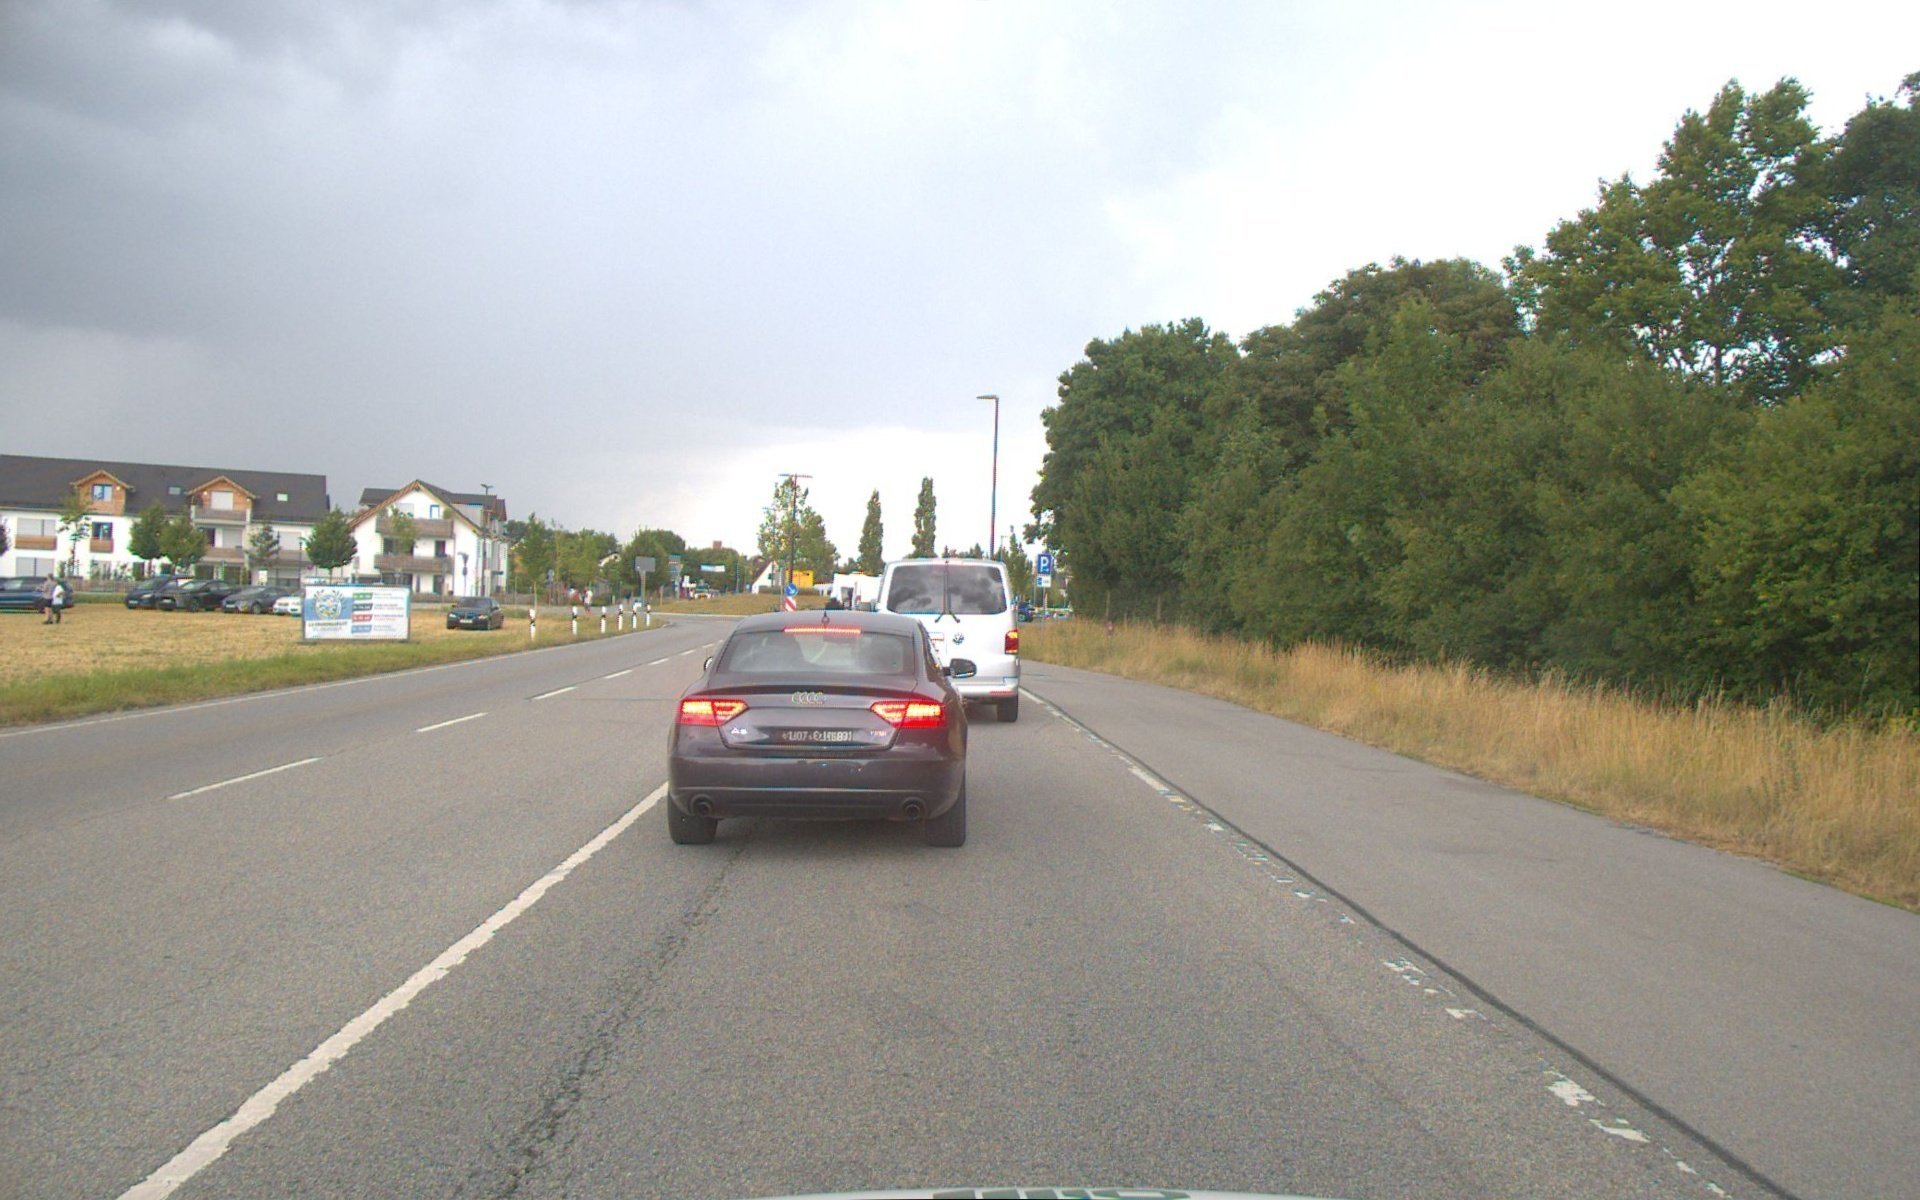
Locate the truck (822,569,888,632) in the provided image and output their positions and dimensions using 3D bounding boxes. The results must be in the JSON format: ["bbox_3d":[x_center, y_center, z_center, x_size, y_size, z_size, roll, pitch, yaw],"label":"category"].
[{"bbox_3d":[-5.052,0.008,78.471,2.577,2.785,5.856,2,0,-8],"label":"truck"}]

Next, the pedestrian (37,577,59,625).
[{"bbox_3d":[-34.814,0.027,63.151,0.539,1.817,0.676,1,0,-13],"label":"pedestrian"}]

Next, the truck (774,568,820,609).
[{"bbox_3d":[-15.468,-1.137,156.394,3.511,3.640,9.934,2,0,-10],"label":"truck"}]

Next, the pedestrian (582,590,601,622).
[{"bbox_3d":[-19.387,0.319,86.947,0.689,1.613,0.655,1,-1,36],"label":"pedestrian"}]

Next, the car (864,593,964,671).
[{"bbox_3d":[-0.992,0.649,35.126,1.953,1.511,3.998,1,0,-2],"label":"car"}]

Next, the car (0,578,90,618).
[{"bbox_3d":[-42.487,-0.126,75.513,4.649,1.727,1.987,2,0,-22],"label":"car"}]

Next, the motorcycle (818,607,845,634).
[{"bbox_3d":[-5.202,0.830,67.110,0.925,1.037,2.283,2,0,-1],"label":"motorcycle"}]

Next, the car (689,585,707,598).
[{"bbox_3d":[-33.702,-1.088,213.046,1.955,1.670,3.995,2,0,-6],"label":"car"}]

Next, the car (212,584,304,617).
[{"bbox_3d":[-35.169,0.033,82.965,1.951,1.562,4.214,1,0,17],"label":"car"}]

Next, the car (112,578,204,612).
[{"bbox_3d":[-41.397,-0.231,85.462,1.951,1.657,4.214,1,0,17],"label":"car"}]

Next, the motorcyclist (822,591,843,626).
[{"bbox_3d":[-5.170,0.356,67.214,0.769,1.380,0.853,2,0,-1],"label":"motorcyclist"}]

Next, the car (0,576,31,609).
[{"bbox_3d":[-51.412,-0.433,86.621,4.561,1.727,1.987,2,0,-22],"label":"car"}]

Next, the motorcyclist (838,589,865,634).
[{"bbox_3d":[-3.512,0.367,53.592,0.756,1.407,0.820,2,0,0],"label":"motorcyclist"}]

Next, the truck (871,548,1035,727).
[{"bbox_3d":[-0.135,0.433,21.633,1.866,2.033,4.627,2,0,-1],"label":"truck"}]

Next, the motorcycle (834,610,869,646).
[{"bbox_3d":[-3.515,0.889,53.686,0.901,1.113,2.189,2,0,1],"label":"motorcycle"}]

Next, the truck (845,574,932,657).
[{"bbox_3d":[-1.859,0.398,44.169,2.149,2.049,5.083,2,0,-1],"label":"truck"}]

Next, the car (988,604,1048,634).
[{"bbox_3d":[4.285,1.406,121.890,3.904,2.049,2.001,2,0,19],"label":"car"}]

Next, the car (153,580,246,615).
[{"bbox_3d":[-38.276,-0.127,83.324,1.951,1.657,4.214,1,0,17],"label":"car"}]

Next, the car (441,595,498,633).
[{"bbox_3d":[-20.763,0.562,70.137,1.959,1.467,3.988,2,1,-12],"label":"car"}]

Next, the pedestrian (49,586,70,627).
[{"bbox_3d":[-34.899,0.242,64.126,0.581,1.582,0.622,2,0,-20],"label":"pedestrian"}]

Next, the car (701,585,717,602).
[{"bbox_3d":[-30.936,-0.826,203.898,1.956,2.049,3.992,2,0,-9],"label":"car"}]

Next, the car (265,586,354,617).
[{"bbox_3d":[-32.450,0.082,82.638,1.951,1.471,4.214,1,0,17],"label":"car"}]

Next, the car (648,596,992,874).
[{"bbox_3d":[-0.790,0.733,11.045,1.837,1.479,4.176,1,0,-1],"label":"car"}]
